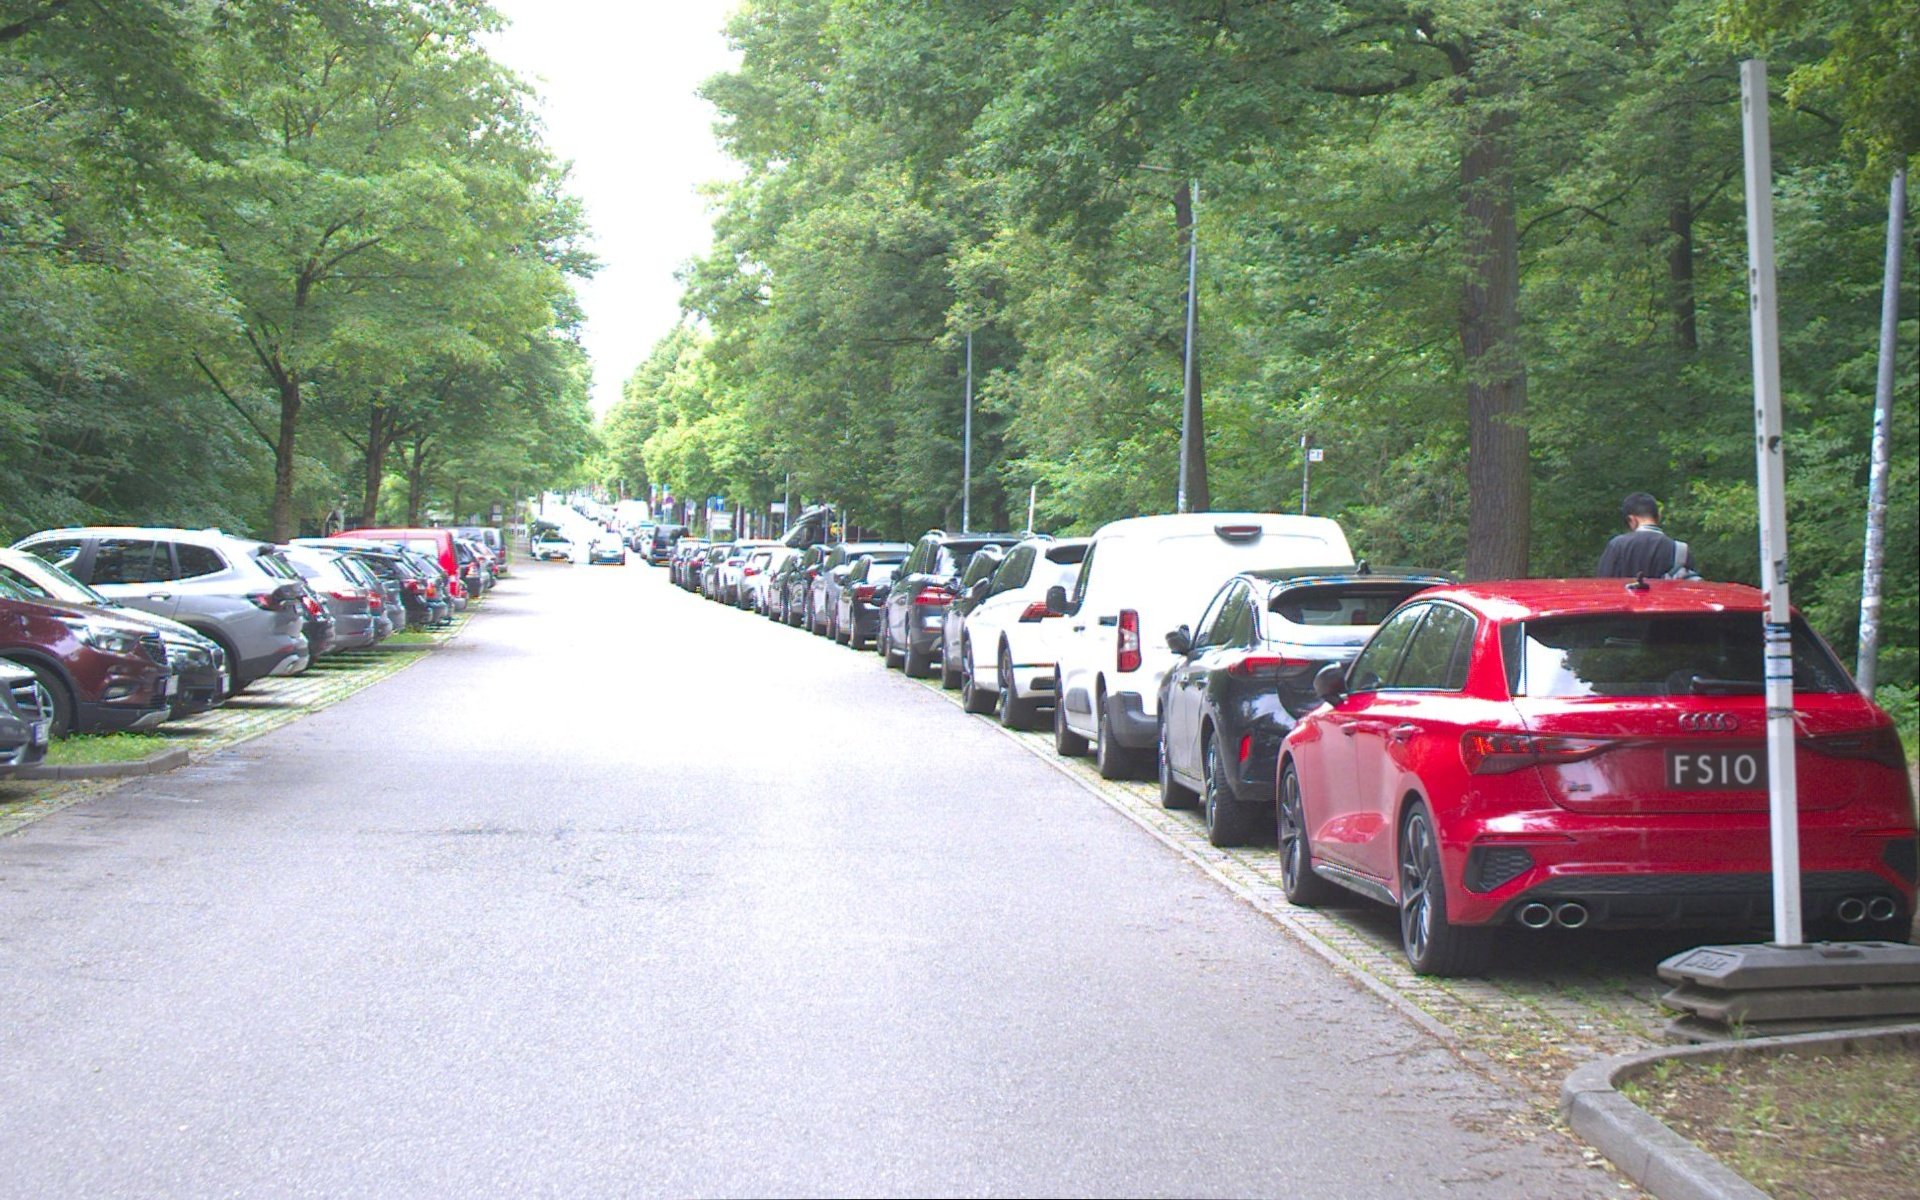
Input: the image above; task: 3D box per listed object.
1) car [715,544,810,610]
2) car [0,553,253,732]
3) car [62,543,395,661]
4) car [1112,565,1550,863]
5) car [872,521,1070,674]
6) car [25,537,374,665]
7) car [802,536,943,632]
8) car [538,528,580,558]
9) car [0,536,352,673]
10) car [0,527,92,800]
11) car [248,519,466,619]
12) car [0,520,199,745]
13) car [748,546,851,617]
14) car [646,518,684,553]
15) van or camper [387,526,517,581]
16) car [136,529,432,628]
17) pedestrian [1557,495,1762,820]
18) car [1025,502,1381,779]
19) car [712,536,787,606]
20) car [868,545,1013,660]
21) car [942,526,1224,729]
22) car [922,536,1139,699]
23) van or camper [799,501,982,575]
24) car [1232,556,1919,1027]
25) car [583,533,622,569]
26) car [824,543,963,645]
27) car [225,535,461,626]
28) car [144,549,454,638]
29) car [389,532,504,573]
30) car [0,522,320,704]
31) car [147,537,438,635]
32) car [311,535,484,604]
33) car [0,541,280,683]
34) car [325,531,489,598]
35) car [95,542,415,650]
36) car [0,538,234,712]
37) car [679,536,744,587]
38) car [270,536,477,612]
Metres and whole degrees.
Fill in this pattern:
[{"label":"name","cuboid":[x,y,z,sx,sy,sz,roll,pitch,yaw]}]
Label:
[{"label":"car","cuboid":[-4.741,-0.573,82.058,1.721,1.489,3.775,1,1,-11]},{"label":"car","cuboid":[-7.878,0.305,27.946,3.986,1.359,1.787,1,1,-6]},{"label":"car","cuboid":[-9.575,0.012,45.306,4.108,1.475,1.997,1,1,-7]},{"label":"car","cuboid":[1.948,0.551,19.290,1.725,1.418,4.285,1,1,-3]},{"label":"car","cuboid":[0.063,-0.074,42.332,1.889,1.741,4.949,1,1,-6]},{"label":"car","cuboid":[-9.399,-0.003,42.773,4.088,1.518,1.930,1,1,-8]},{"label":"car","cuboid":[-1.536,-0.306,58.732,1.978,1.532,4.623,1,1,-7]},{"label":"car","cuboid":[-18.486,-2.621,158.563,1.739,1.158,3.412,2,4,-5]},{"label":"car","cuboid":[-9.462,0.033,40.327,4.400,1.483,1.838,1,1,-4]},{"label":"car","cuboid":[-7.328,0.320,20.268,4.033,1.549,1.920,1,1,-5]},{"label":"car","cuboid":[-11.388,-0.591,65.163,3.986,1.810,2.115,1,1,-9]},{"label":"car","cuboid":[-8.020,0.194,25.241,4.514,1.579,1.927,1,1,-5]},{"label":"car","cuboid":[-3.593,-0.424,76.266,1.936,1.470,3.993,1,1,-7]},{"label":"car","cuboid":[-13.885,-3.047,161.634,1.628,1.410,3.412,2,4,-7]},{"label":"van or camper","cuboid":[-18.939,-1.750,128.167,4.473,1.861,1.920,1,4,-20]},{"label":"car","cuboid":[-11.289,-0.368,57.687,4.730,1.590,1.960,1,1,-7]},{"label":"pedestrian","cuboid":[3.820,0.300,18.841,0.817,1.720,1.004,1,1,-4]},{"label":"car","cuboid":[1.624,0.220,24.602,1.744,1.774,4.553,1,1,-6]},{"label":"car","cuboid":[-5.405,-0.755,87.772,1.710,1.722,4.001,1,1,-6]},{"label":"car","cuboid":[-0.312,0.002,47.904,1.598,1.499,4.091,1,1,-6]},{"label":"car","cuboid":[1.008,0.181,30.785,1.785,1.657,4.719,1,1,-7]},{"label":"car","cuboid":[0.685,0.136,36.638,1.750,1.602,4.447,1,1,-6]},{"label":"van or camper","cuboid":[-2.983,-2.665,148.174,7.321,2.879,2.651,1,4,-20]},{"label":"car","cuboid":[2.434,0.600,13.672,1.993,1.474,4.972,1,1,-3]},{"label":"car","cuboid":[-16.460,-2.251,158.017,1.690,1.410,3.155,2,4,-7]},{"label":"car","cuboid":[-1.069,-0.121,52.897,1.636,1.472,4.152,1,1,-8]},{"label":"car","cuboid":[-10.793,-0.351,60.207,3.986,1.525,2.001,1,1,-10]},{"label":"car","cuboid":[-10.532,-0.118,55.047,4.730,1.338,1.988,1,1,-7]},{"label":"car","cuboid":[-17.498,-1.618,117.099,3.576,1.356,1.829,0,1,-18]},{"label":"car","cuboid":[-8.351,0.086,32.685,4.224,1.627,2.029,1,1,-4]},{"label":"car","cuboid":[-10.211,-0.220,52.714,4.294,1.444,1.757,1,1,-11]},{"label":"car","cuboid":[-13.037,-0.722,79.860,3.832,1.531,1.871,1,1,-5]},{"label":"car","cuboid":[-9.498,0.108,37.710,3.864,1.446,1.661,1,2,-7]},{"label":"car","cuboid":[-13.996,-0.912,87.133,3.986,1.634,1.735,1,1,-5]},{"label":"car","cuboid":[-9.743,-0.072,47.760,4.109,1.426,1.964,1,1,-4]},{"label":"car","cuboid":[-8.585,0.183,30.325,4.022,1.460,1.799,1,1,-3]},{"label":"car","cuboid":[-7.774,-1.208,107.165,1.920,1.515,3.888,1,1,-5]},{"label":"car","cuboid":[-11.903,-0.533,69.987,3.986,1.469,2.115,1,1,-6]}]
